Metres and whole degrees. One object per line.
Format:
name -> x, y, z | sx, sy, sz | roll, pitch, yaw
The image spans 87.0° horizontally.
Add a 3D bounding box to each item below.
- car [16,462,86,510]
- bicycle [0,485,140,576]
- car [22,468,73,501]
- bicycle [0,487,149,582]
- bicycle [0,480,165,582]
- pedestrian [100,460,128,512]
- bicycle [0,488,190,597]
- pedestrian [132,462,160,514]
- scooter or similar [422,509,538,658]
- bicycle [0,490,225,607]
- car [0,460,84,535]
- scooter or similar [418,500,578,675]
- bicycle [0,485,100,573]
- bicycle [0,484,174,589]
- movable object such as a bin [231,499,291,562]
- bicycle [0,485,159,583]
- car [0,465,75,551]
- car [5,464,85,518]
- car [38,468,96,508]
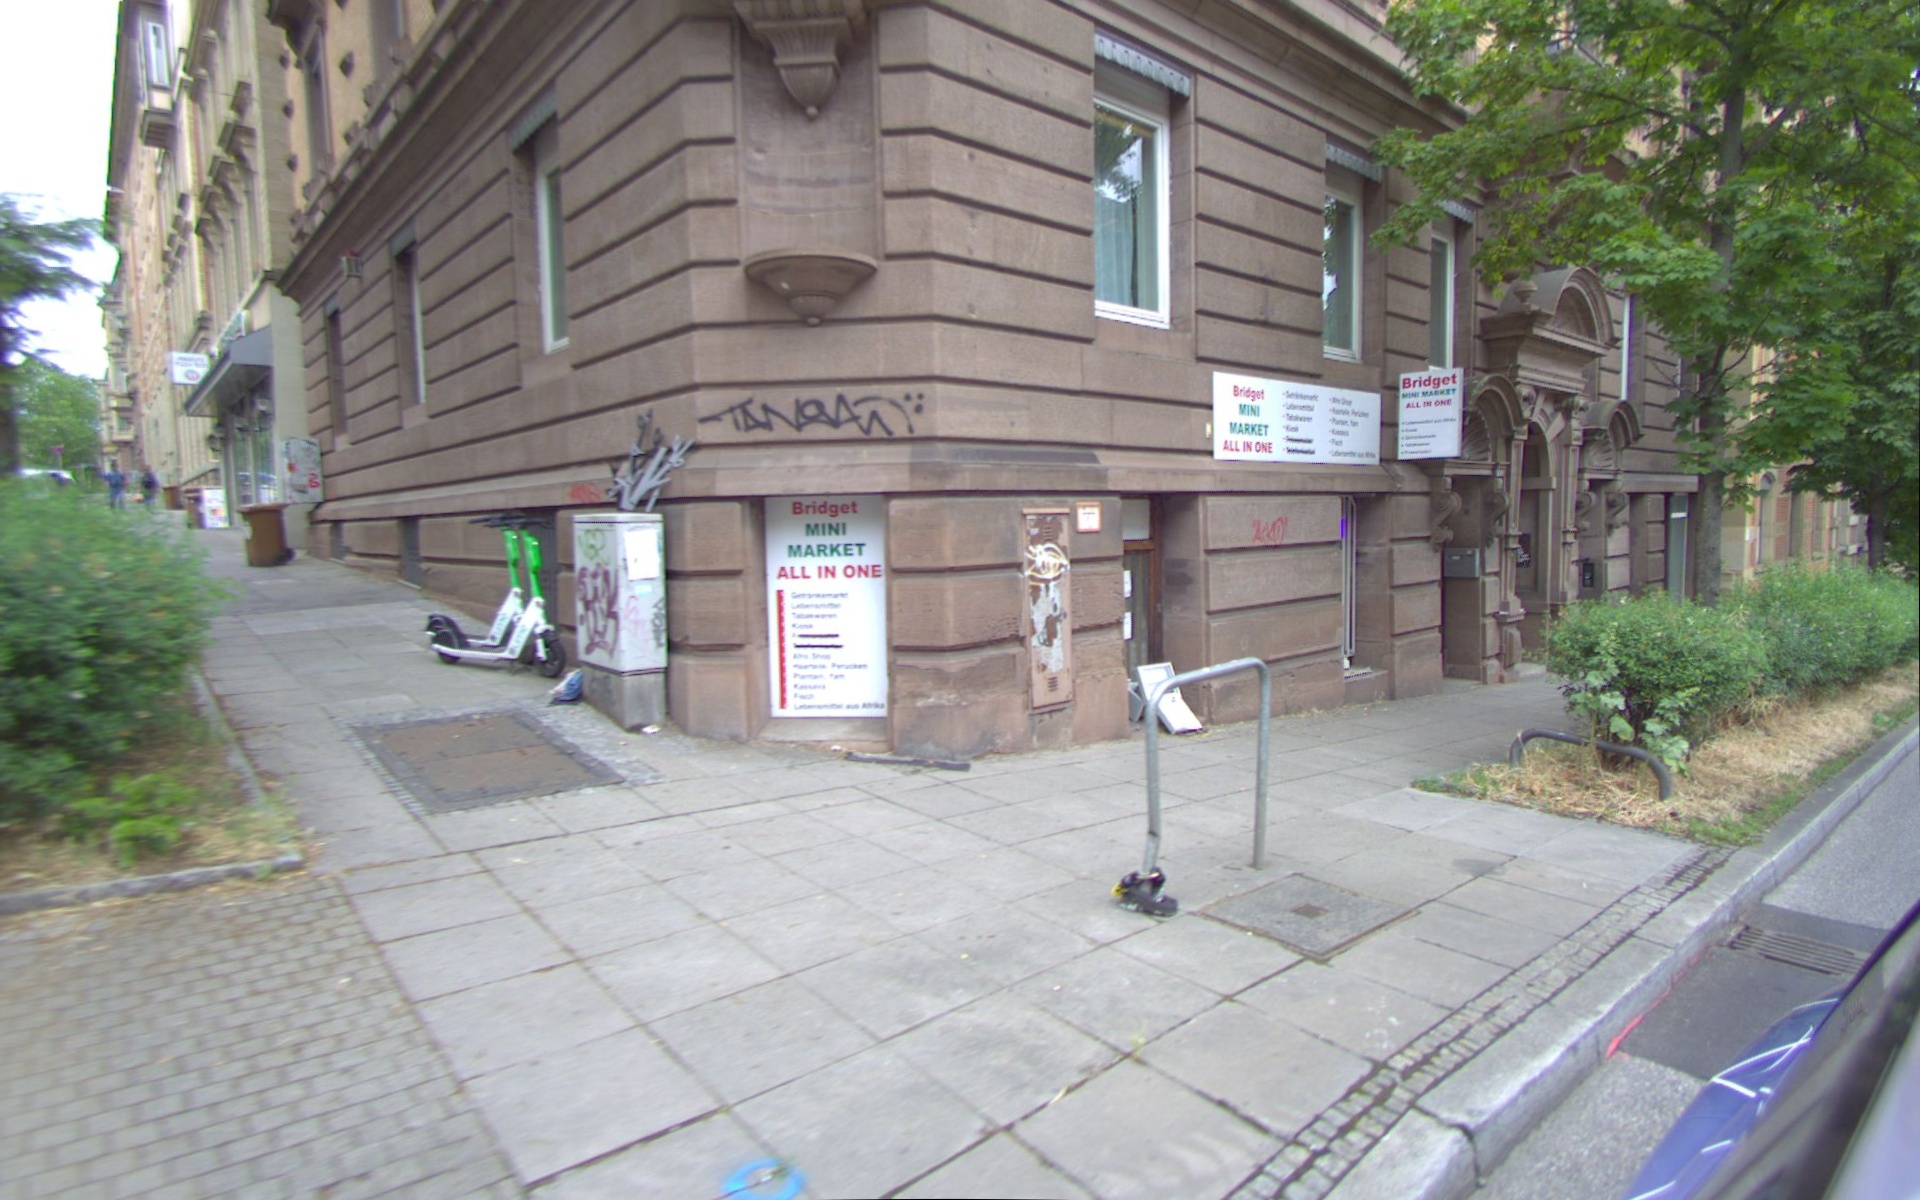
car -> -31.288, -3.931, 34.926 | 1.614, 1.527, 3.869 | -3, 7, -40
bicycle -> -11.801, -0.905, 12.968 | 0.563, 1.111, 1.896 | 5, 7, 38
car -> -44.113, -5.590, 48.978 | 1.614, 1.527, 3.869 | -3, 7, -40
bicycle -> -11.298, -0.826, 12.494 | 0.563, 1.111, 1.896 | 5, 7, 38
bicycle -> -10.430, -0.810, 11.668 | 0.506, 1.111, 1.896 | 5, 7, 38
pedestrian -> -28.654, -3.840, 34.289 | 0.712, 1.676, 0.683 | 0, 1, -41
bicycle -> -9.601, -0.648, 10.965 | 0.506, 1.111, 1.896 | 5, 7, 38
pedestrian -> -28.109, -3.851, 34.939 | 0.712, 1.676, 0.683 | 0, 1, -41
scooter or similar -> -3.826, -0.149, 8.066 | 0.965, 1.090, 0.238 | 5, 8, 23
bicycle -> -8.708, -0.553, 10.318 | 1.888, 1.111, 0.508 | -4, 7, -41
car -> -20.601, -2.287, 22.472 | 1.614, 1.527, 3.869 | -3, 7, -40
scooter or similar -> -3.462, -0.119, 7.577 | 1.228, 1.197, 0.284 | 5, 7, 20
bicycle -> -12.474, -0.931, 13.129 | 0.588, 1.111, 1.895 | 5, 7, 39
bicycle -> -10.050, -0.730, 11.315 | 0.506, 1.111, 1.896 | 5, 7, 38
movable object such as a bin -> -10.536, -1.056, 15.256 | 0.428, 0.895, 0.562 | 3, 9, 37
bicycle -> -10.839, -0.804, 12.070 | 0.591, 1.111, 1.896 | 5, 7, 38
car -> -17.302, -1.721, 18.463 | 1.614, 1.422, 4.279 | -3, 7, -40
car -> -27.963, -3.346, 31.028 | 1.614, 1.527, 3.869 | -3, 7, -40
car -> -36.323, -4.545, 41.211 | 1.614, 1.527, 3.869 | -3, 7, -40
